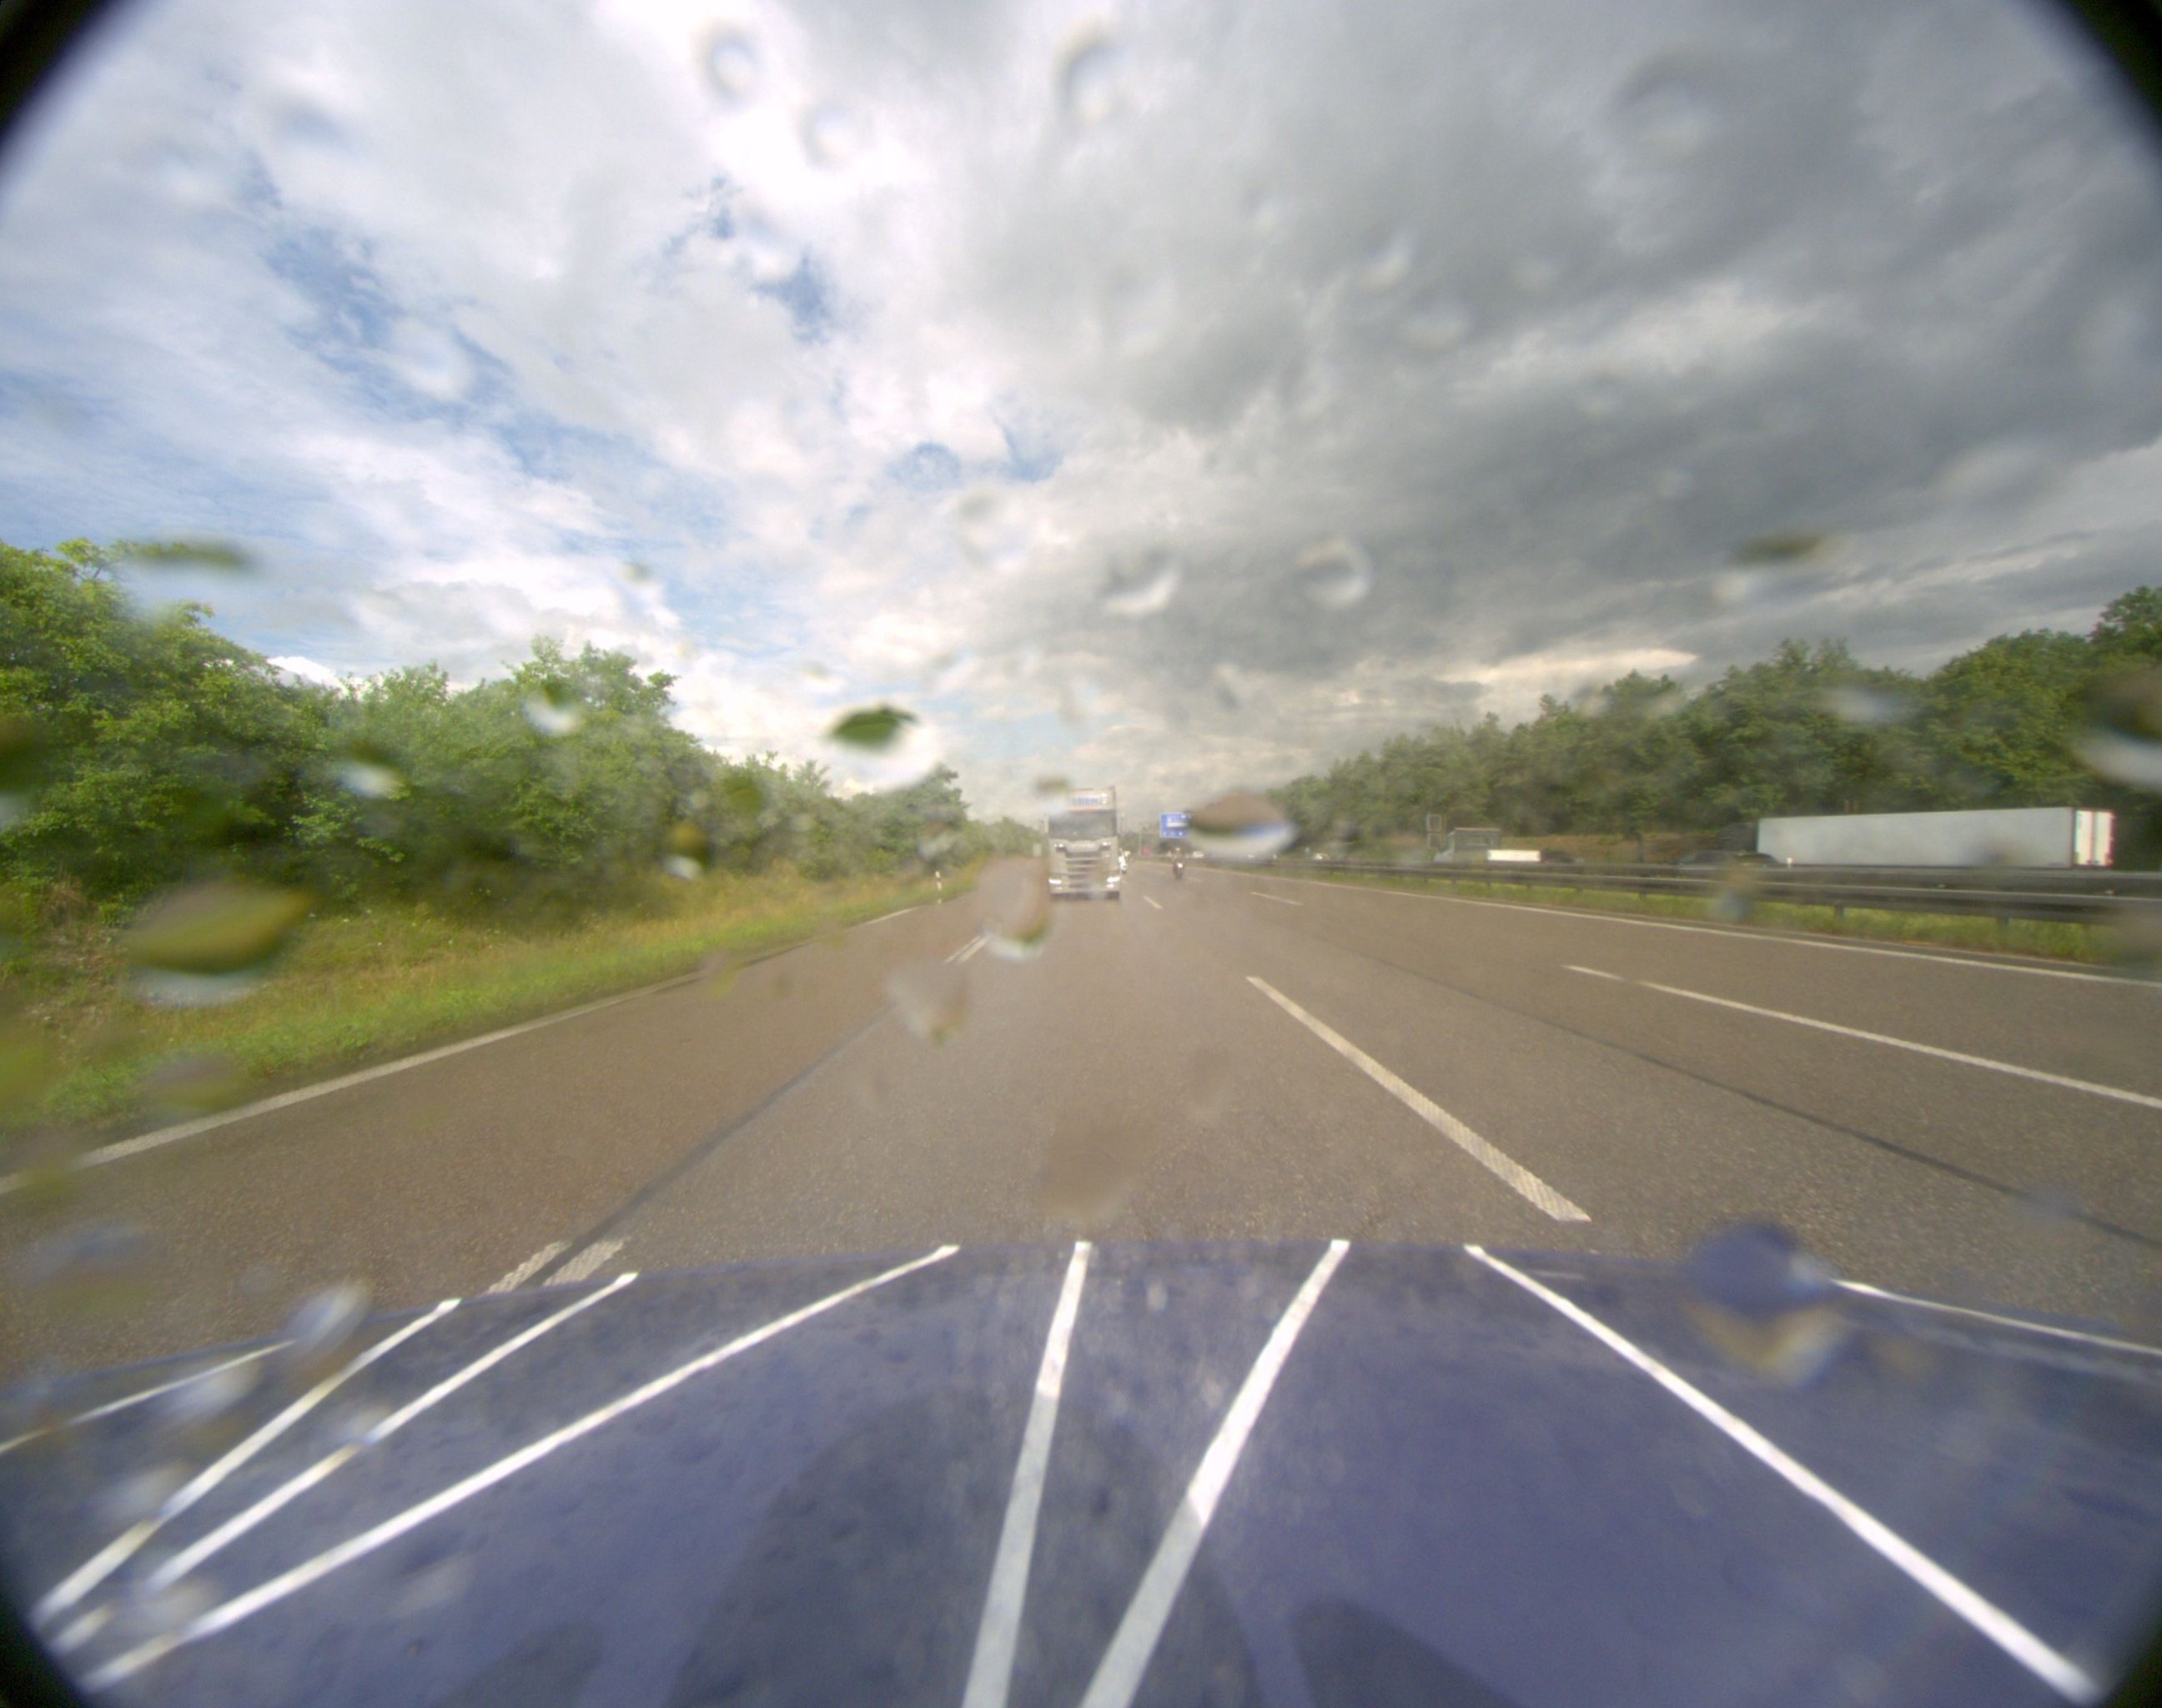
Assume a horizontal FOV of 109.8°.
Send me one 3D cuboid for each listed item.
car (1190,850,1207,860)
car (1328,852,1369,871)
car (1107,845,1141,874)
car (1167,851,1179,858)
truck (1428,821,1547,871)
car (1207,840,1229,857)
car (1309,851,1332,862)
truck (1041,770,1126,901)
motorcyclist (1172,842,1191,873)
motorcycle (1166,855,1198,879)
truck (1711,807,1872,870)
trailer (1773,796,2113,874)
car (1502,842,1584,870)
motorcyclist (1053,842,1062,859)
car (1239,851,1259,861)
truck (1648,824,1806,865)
[{"bbox_3d":[18.244,0.113,118.067,1.903,1.384,5.420,-2,1,1],"label":"car"},{"bbox_3d":[21.966,0.618,62.525,1.835,1.384,4.433,-2,1,1],"label":"car"},{"bbox_3d":[3.279,0.391,58.928,2.350,2.033,5.142,-2,1,1],"label":"car"},{"bbox_3d":[18.756,0.137,155.378,1.903,1.384,5.420,-2,1,1],"label":"car"},{"bbox_3d":[17.375,-0.351,32.862,2.262,1.884,5.446,-2,1,1],"label":"truck"},{"bbox_3d":[26.018,-1.021,144.897,2.951,3.092,7.343,-2,1,1],"label":"car"},{"bbox_3d":[26.091,0.283,82.812,1.449,1.051,3.114,-2,1,1],"label":"car"},{"bbox_3d":[-0.026,-0.657,28.624,2.650,4.250,6.882,-2,1,-2],"label":"truck"},{"bbox_3d":[5.637,0.166,42.751,0.883,1.696,1.000,-2,1,-1],"label":"motorcyclist"},{"bbox_3d":[5.615,0.696,42.559,1.188,1.219,3.193,-2,1,-2],"label":"motorcycle"},{"bbox_3d":[45.448,-0.958,48.937,3.219,3.683,6.908,-3,1,-13],"label":"truck"},{"bbox_3d":[46.957,-0.923,42.530,3.215,3.717,12.555,-1,0,-13],"label":"trailer"},{"bbox_3d":[25.395,0.096,41.960,1.835,1.384,4.433,-2,1,1],"label":"car"},{"bbox_3d":[-2.493,-0.364,80.171,0.883,1.696,1.000,-2,1,-1],"label":"motorcyclist"},{"bbox_3d":[25.614,0.346,116.113,1.978,1.384,5.158,-2,1,1],"label":"car"},{"bbox_3d":[21.350,-0.327,25.343,1.893,1.187,3.999,-2,1,1],"label":"truck"}]
